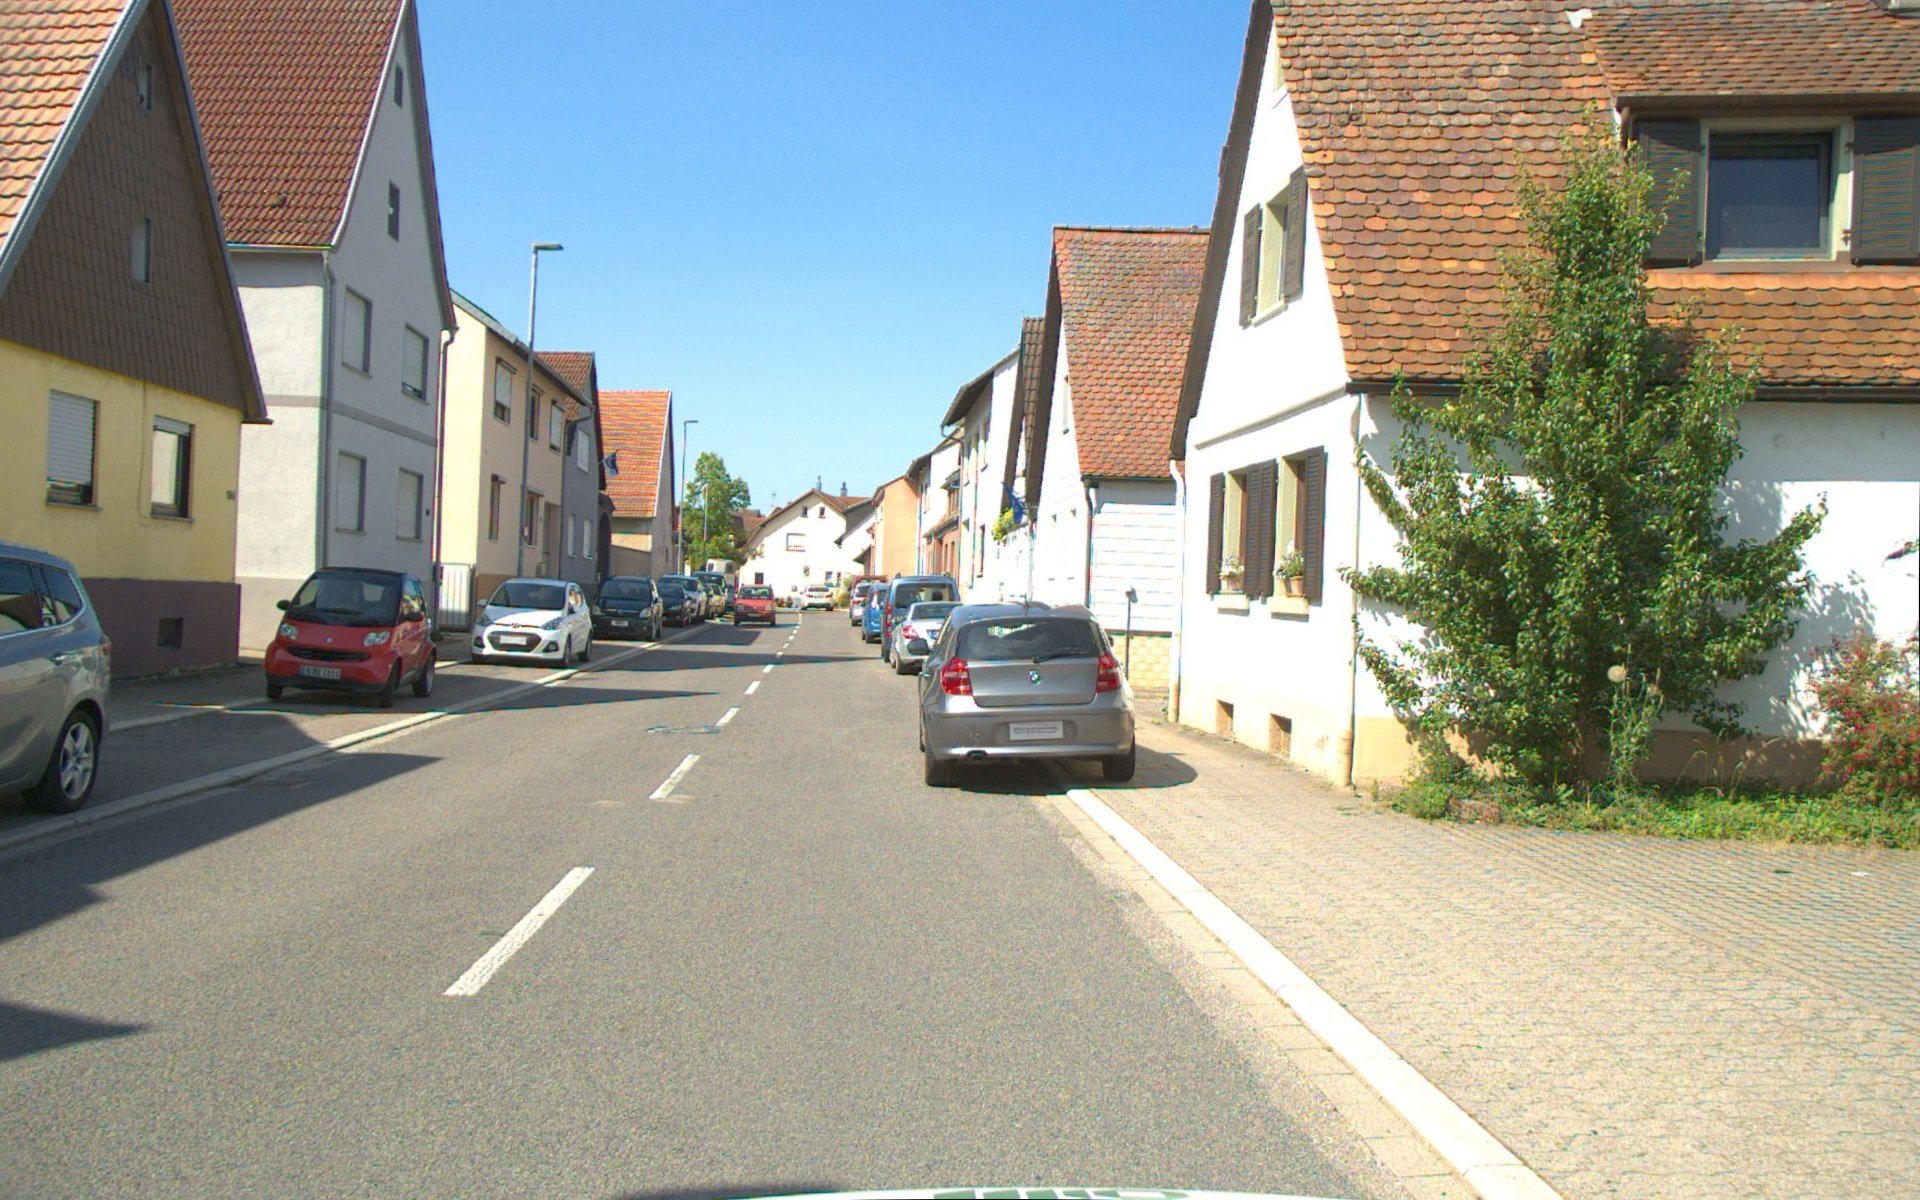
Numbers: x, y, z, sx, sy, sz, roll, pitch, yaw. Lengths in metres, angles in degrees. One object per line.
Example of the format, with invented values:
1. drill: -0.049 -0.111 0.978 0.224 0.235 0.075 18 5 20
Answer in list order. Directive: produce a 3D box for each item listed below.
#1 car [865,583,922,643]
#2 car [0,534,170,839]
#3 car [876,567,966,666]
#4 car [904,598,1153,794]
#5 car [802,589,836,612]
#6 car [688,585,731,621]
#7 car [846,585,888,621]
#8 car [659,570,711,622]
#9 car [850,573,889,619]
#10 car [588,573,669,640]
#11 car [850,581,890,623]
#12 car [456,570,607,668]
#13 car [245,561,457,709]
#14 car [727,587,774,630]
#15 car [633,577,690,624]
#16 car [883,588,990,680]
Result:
1. car: -1.923 0.355 46.915 1.393 1.541 3.300 3 0 -5
2. car: -6.103 0.426 8.659 1.836 1.665 4.660 3 0 -3
3. car: -0.897 0.346 35.798 1.617 1.943 3.622 3 0 -5
4. car: 0.455 0.715 14.361 1.671 1.458 3.885 0 0 -5
5. car: -8.530 0.019 100.173 1.954 1.311 3.996 2 0 -5
6. car: -10.482 0.136 69.298 1.498 1.379 3.622 3 0 -5
7. car: -4.077 0.136 72.076 1.732 1.458 3.447 2 0 -4
8. car: -9.920 -0.127 59.846 1.498 1.743 3.622 3 0 -5
9. car: -4.243 -0.183 77.434 1.732 2.039 3.447 2 -1 -4
10. car: -8.670 0.155 43.528 1.588 1.605 3.957 3 0 -5
11. car: -3.517 0.069 64.321 1.393 1.541 3.300 3 0 -5
12. car: -7.720 0.321 30.206 1.770 1.574 4.400 3 0 -3
13. car: -7.258 0.393 19.975 1.522 1.571 2.985 3 0 -4
14. car: -7.957 0.303 63.062 1.570 1.515 3.622 3 0 -5
15. car: -9.956 0.013 55.383 1.474 1.478 3.505 2 0 -4
16. car: -0.495 0.601 30.885 1.671 1.523 3.449 3 0 -5
